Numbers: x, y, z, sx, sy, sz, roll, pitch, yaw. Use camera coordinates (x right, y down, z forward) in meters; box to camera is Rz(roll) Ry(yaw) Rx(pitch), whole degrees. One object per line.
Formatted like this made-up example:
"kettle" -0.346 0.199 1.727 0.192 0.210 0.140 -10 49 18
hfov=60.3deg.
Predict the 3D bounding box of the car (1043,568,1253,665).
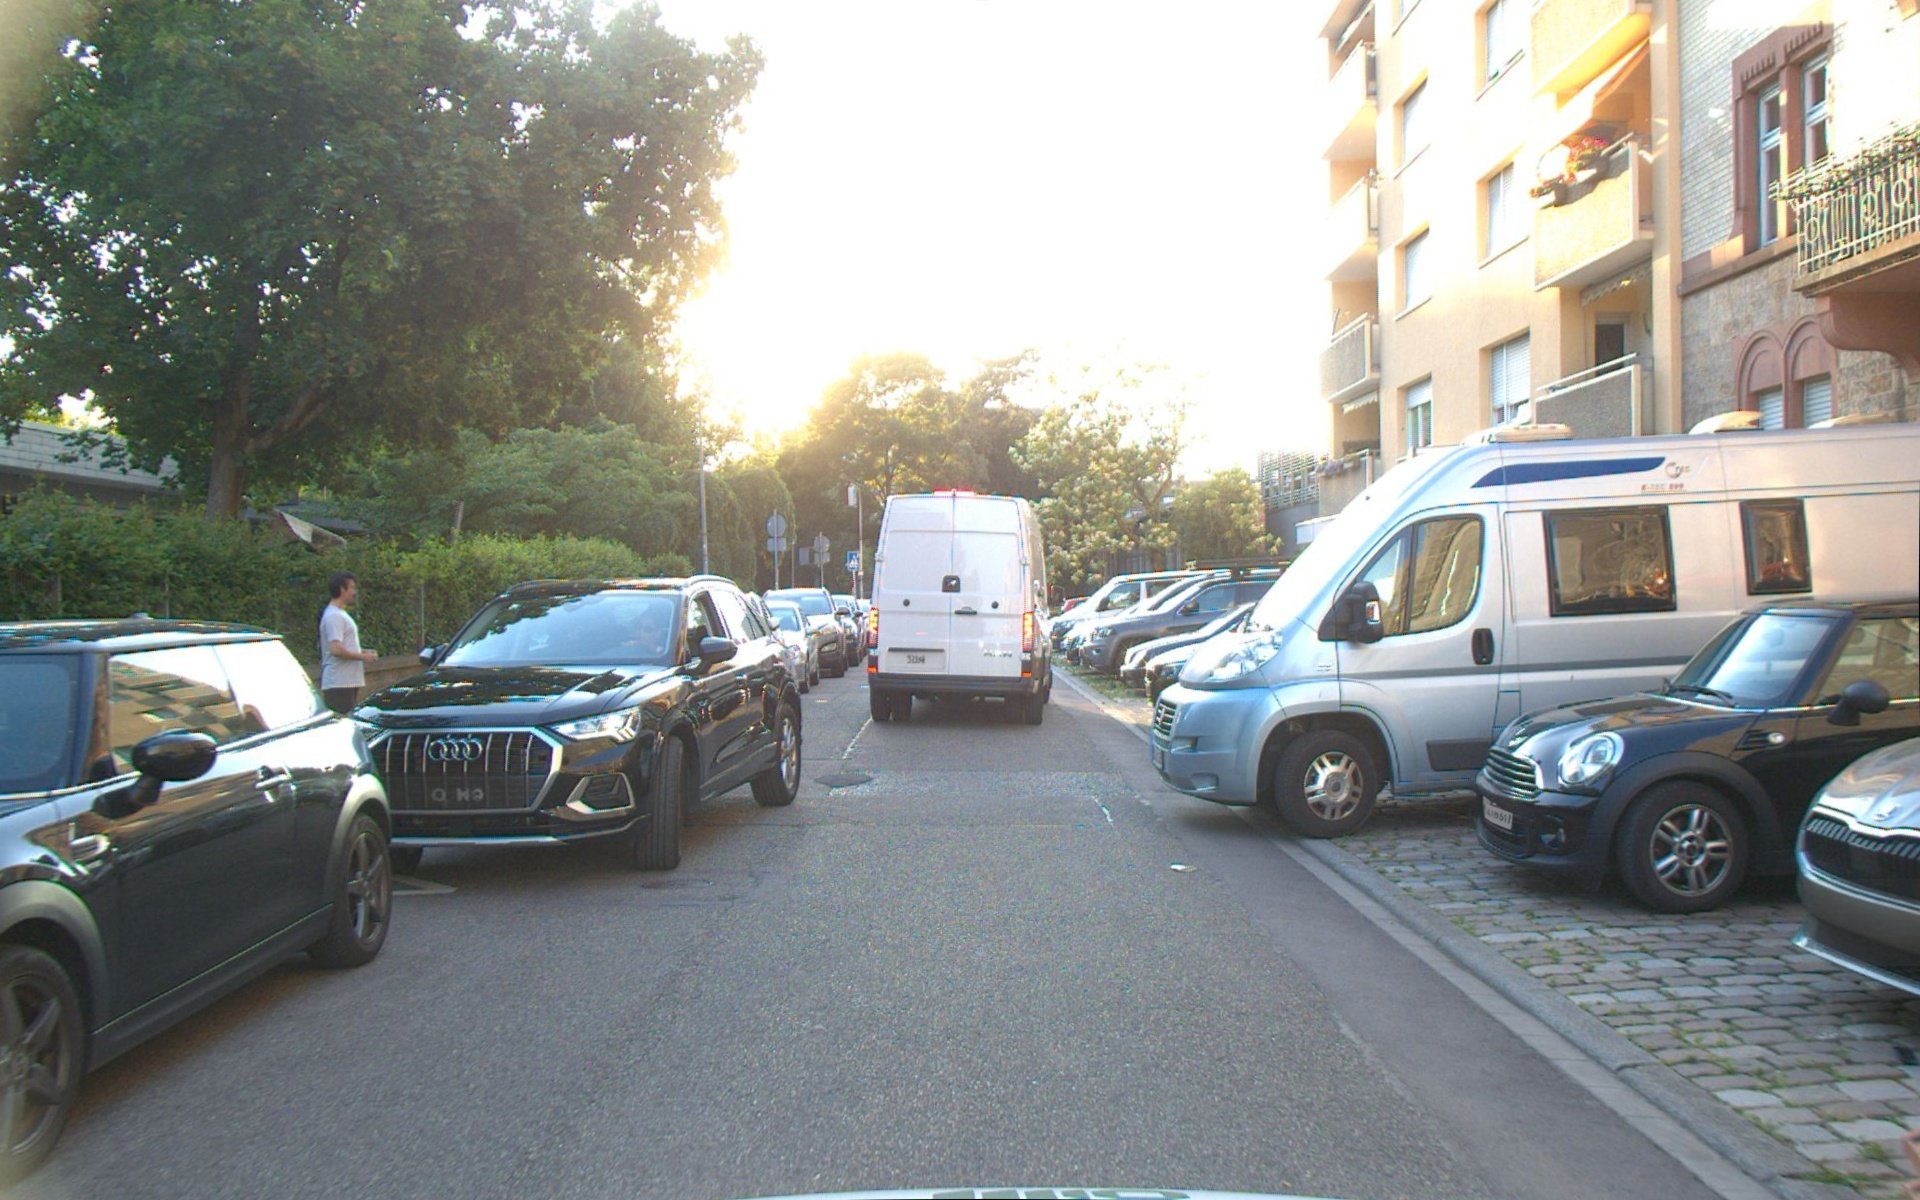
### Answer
"car" 4.305 0.376 38.345 4.611 2.183 1.999 0 0 -2

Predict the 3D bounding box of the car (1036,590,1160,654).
"car" 4.438 0.697 53.690 3.904 2.049 2.000 0 0 1

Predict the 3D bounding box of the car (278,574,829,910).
"car" -2.156 0.693 10.237 1.766 1.597 4.568 -1 0 7

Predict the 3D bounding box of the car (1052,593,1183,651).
"car" 4.845 0.672 51.437 3.905 1.758 2.000 0 0 0

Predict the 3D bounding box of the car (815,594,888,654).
"car" -3.081 0.652 47.753 1.953 1.646 3.999 0 0 -2

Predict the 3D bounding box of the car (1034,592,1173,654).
"car" 4.149 0.664 48.396 3.905 1.758 2.000 0 0 0

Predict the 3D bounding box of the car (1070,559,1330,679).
"car" 4.462 0.345 31.240 4.611 2.183 1.999 0 0 -2

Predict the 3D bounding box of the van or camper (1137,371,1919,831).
"van or camper" 4.238 0.016 11.296 5.808 2.818 2.109 0 0 -1

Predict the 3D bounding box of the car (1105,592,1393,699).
"car" 4.460 0.683 25.914 4.151 1.450 1.719 -2 0 -1

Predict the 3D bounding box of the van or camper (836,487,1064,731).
"van or camper" 0.078 0.088 20.985 2.402 2.591 6.086 1 0 4

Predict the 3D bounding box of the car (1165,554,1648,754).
"car" 4.432 0.501 16.751 4.349 1.758 1.770 -2 0 -7

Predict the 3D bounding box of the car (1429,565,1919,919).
"car" 4.583 0.606 8.383 3.854 1.512 1.787 -3 -2 1

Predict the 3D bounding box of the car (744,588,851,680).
"car" -3.132 0.618 32.514 1.954 1.691 3.997 0 0 -4

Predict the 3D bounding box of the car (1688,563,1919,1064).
"car" 4.887 0.565 5.586 3.909 1.542 2.017 -3 0 -5

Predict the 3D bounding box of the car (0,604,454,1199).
"car" -3.139 0.805 5.460 1.603 1.504 3.993 -2 0 1

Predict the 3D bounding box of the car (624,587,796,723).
"car" -3.247 0.671 22.193 1.819 1.582 4.097 -2 0 -3

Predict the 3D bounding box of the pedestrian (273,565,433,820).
"pedestrian" -4.578 0.680 12.527 0.919 1.862 0.786 0 0 -2

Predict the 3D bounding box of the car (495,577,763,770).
"car" -3.237 0.667 16.963 1.746 1.659 4.001 -3 0 2

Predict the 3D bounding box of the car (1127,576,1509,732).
"car" 4.066 0.591 19.187 3.909 1.479 1.834 -3 0 -4

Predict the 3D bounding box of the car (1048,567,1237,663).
"car" 4.419 0.358 40.530 4.404 2.269 2.032 0 0 -1

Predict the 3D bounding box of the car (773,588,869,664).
"car" -3.114 0.559 37.722 1.953 1.646 3.999 0 0 -2

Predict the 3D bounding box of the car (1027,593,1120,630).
"car" 5.017 0.507 73.713 3.908 1.646 1.998 0 0 -4

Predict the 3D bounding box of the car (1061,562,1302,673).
"car" 4.442 0.339 33.667 4.611 2.183 1.999 0 0 -2

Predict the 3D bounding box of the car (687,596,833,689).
"car" -3.218 0.647 27.292 1.953 1.422 3.999 0 0 -1

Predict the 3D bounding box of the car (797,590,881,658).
"car" -3.014 0.572 42.043 1.953 1.646 3.999 0 0 -2

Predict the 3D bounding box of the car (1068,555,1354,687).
"car" 4.254 0.349 28.542 4.611 2.183 1.999 0 0 -2
